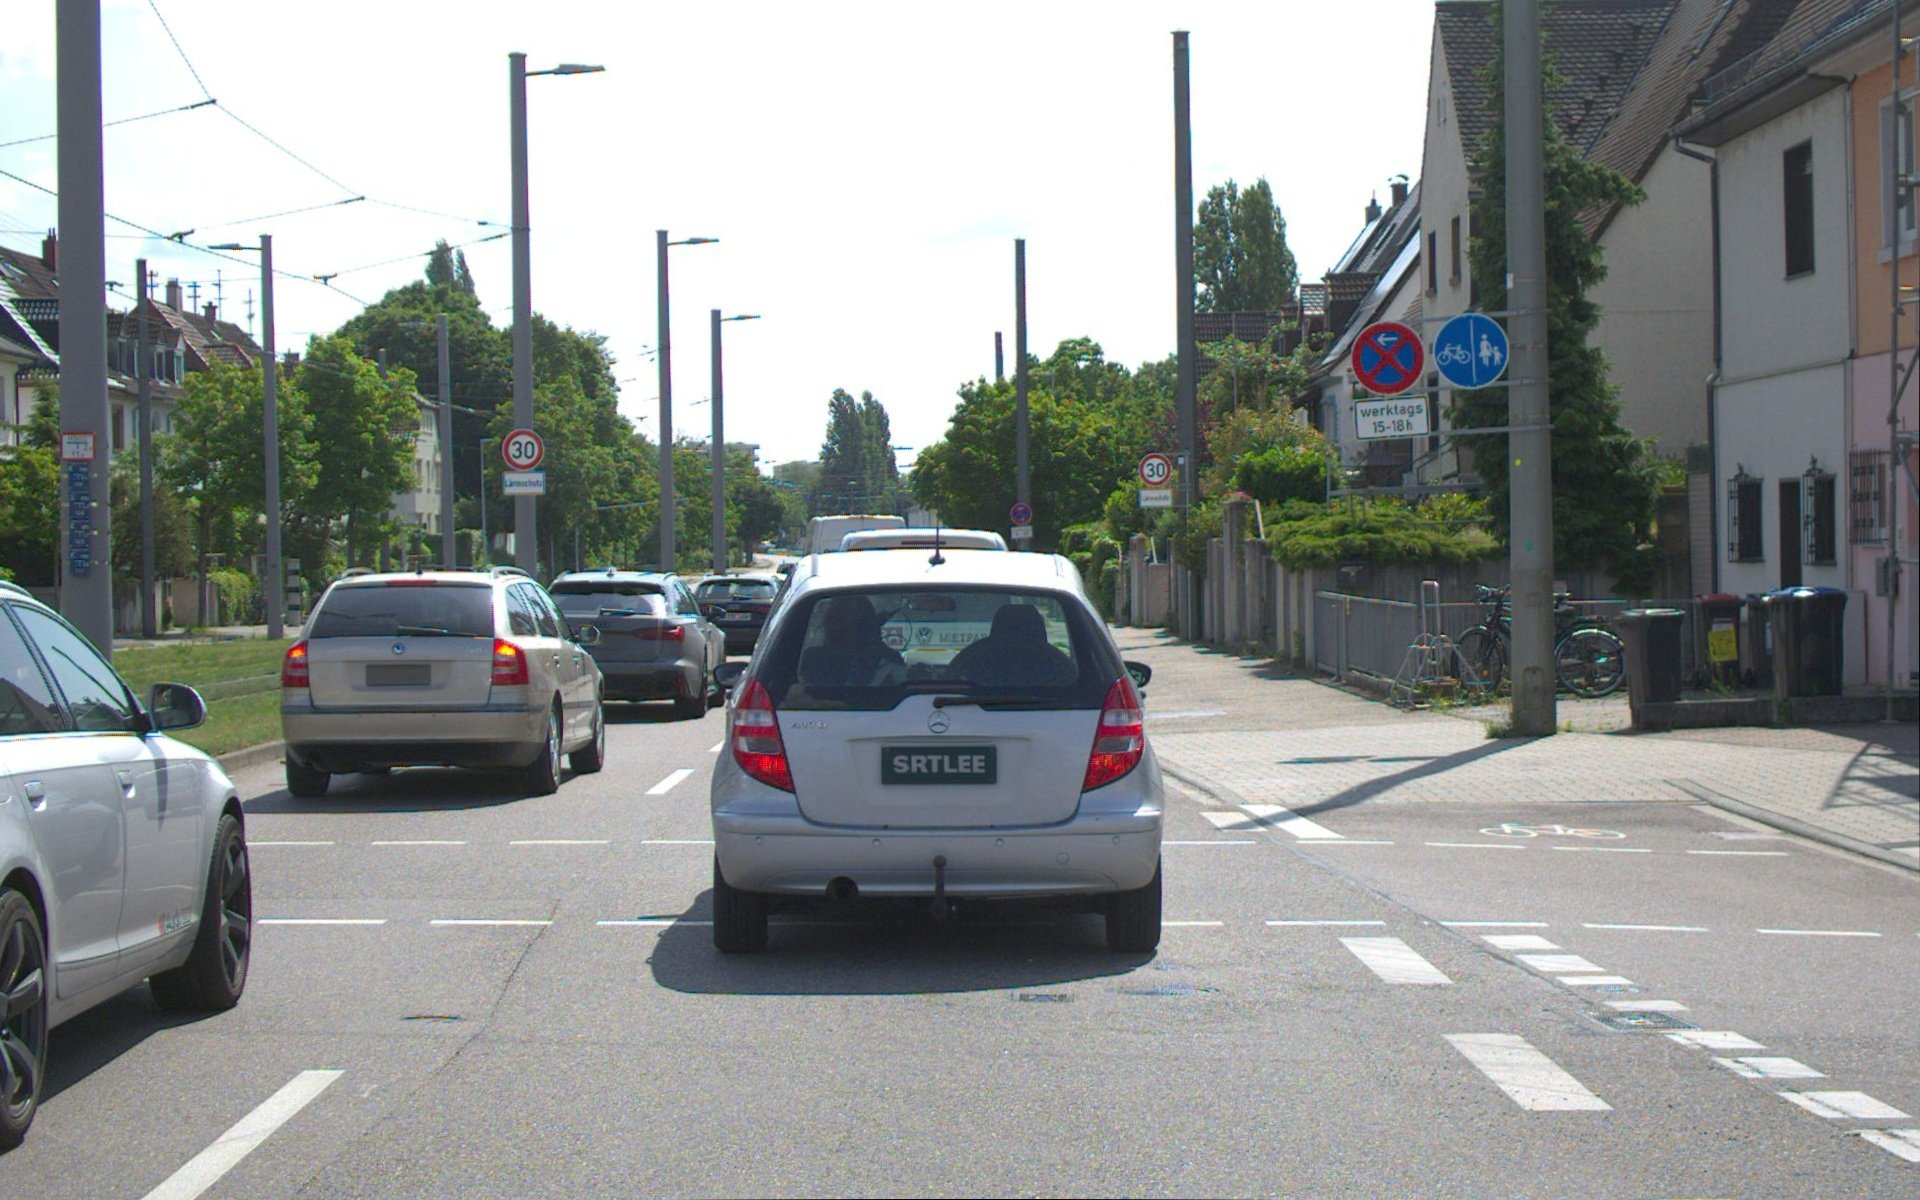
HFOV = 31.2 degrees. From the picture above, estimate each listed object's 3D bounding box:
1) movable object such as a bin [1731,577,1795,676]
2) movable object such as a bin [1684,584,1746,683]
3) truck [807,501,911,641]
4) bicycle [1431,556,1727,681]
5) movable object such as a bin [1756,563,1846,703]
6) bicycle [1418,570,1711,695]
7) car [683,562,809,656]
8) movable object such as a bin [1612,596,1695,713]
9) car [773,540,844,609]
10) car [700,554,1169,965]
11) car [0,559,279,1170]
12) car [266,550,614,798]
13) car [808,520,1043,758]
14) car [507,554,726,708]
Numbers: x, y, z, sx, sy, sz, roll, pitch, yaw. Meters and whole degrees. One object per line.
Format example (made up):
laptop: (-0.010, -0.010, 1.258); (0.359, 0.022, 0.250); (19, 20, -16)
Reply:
movable object such as a bin: (7.816, 0.253, 33.461); (0.468, 0.943, 0.558); (-1, 1, -1)
movable object such as a bin: (7.349, 0.320, 33.467); (0.468, 0.943, 0.558); (-1, 1, -1)
truck: (-1.943, -0.563, 65.435); (1.852, 2.543, 5.856); (1, 1, -2)
bicycle: (5.931, 0.171, 33.021); (2.661, 1.101, 0.786); (-2, 1, -1)
movable object such as a bin: (6.770, 0.257, 27.691); (0.511, 1.101, 0.855); (0, 1, 0)
bicycle: (5.925, 0.313, 33.774); (2.726, 1.116, 0.691); (-2, 1, -1)
car: (-3.316, 0.112, 53.960); (1.852, 1.383, 4.515); (1, 1, -2)
movable object such as a bin: (5.561, 0.429, 27.588); (0.511, 0.915, 0.741); (0, 1, 0)
car: (-4.102, -0.700, 93.340); (1.852, 1.837, 3.919); (1, 1, -2)
car: (-0.163, 0.571, 14.786); (1.730, 1.511, 4.017); (1, 1, -2)
car: (-3.292, 0.639, 9.941); (1.794, 1.467, 4.722); (0, 1, -1)
car: (-3.408, 0.428, 23.227); (1.731, 1.444, 4.123); (1, 2, 0)
car: (-0.249, 0.270, 27.648); (1.730, 1.756, 4.017); (1, 1, 0)
car: (-3.506, 0.276, 35.841); (1.916, 1.472, 4.562); (1, 1, -1)
